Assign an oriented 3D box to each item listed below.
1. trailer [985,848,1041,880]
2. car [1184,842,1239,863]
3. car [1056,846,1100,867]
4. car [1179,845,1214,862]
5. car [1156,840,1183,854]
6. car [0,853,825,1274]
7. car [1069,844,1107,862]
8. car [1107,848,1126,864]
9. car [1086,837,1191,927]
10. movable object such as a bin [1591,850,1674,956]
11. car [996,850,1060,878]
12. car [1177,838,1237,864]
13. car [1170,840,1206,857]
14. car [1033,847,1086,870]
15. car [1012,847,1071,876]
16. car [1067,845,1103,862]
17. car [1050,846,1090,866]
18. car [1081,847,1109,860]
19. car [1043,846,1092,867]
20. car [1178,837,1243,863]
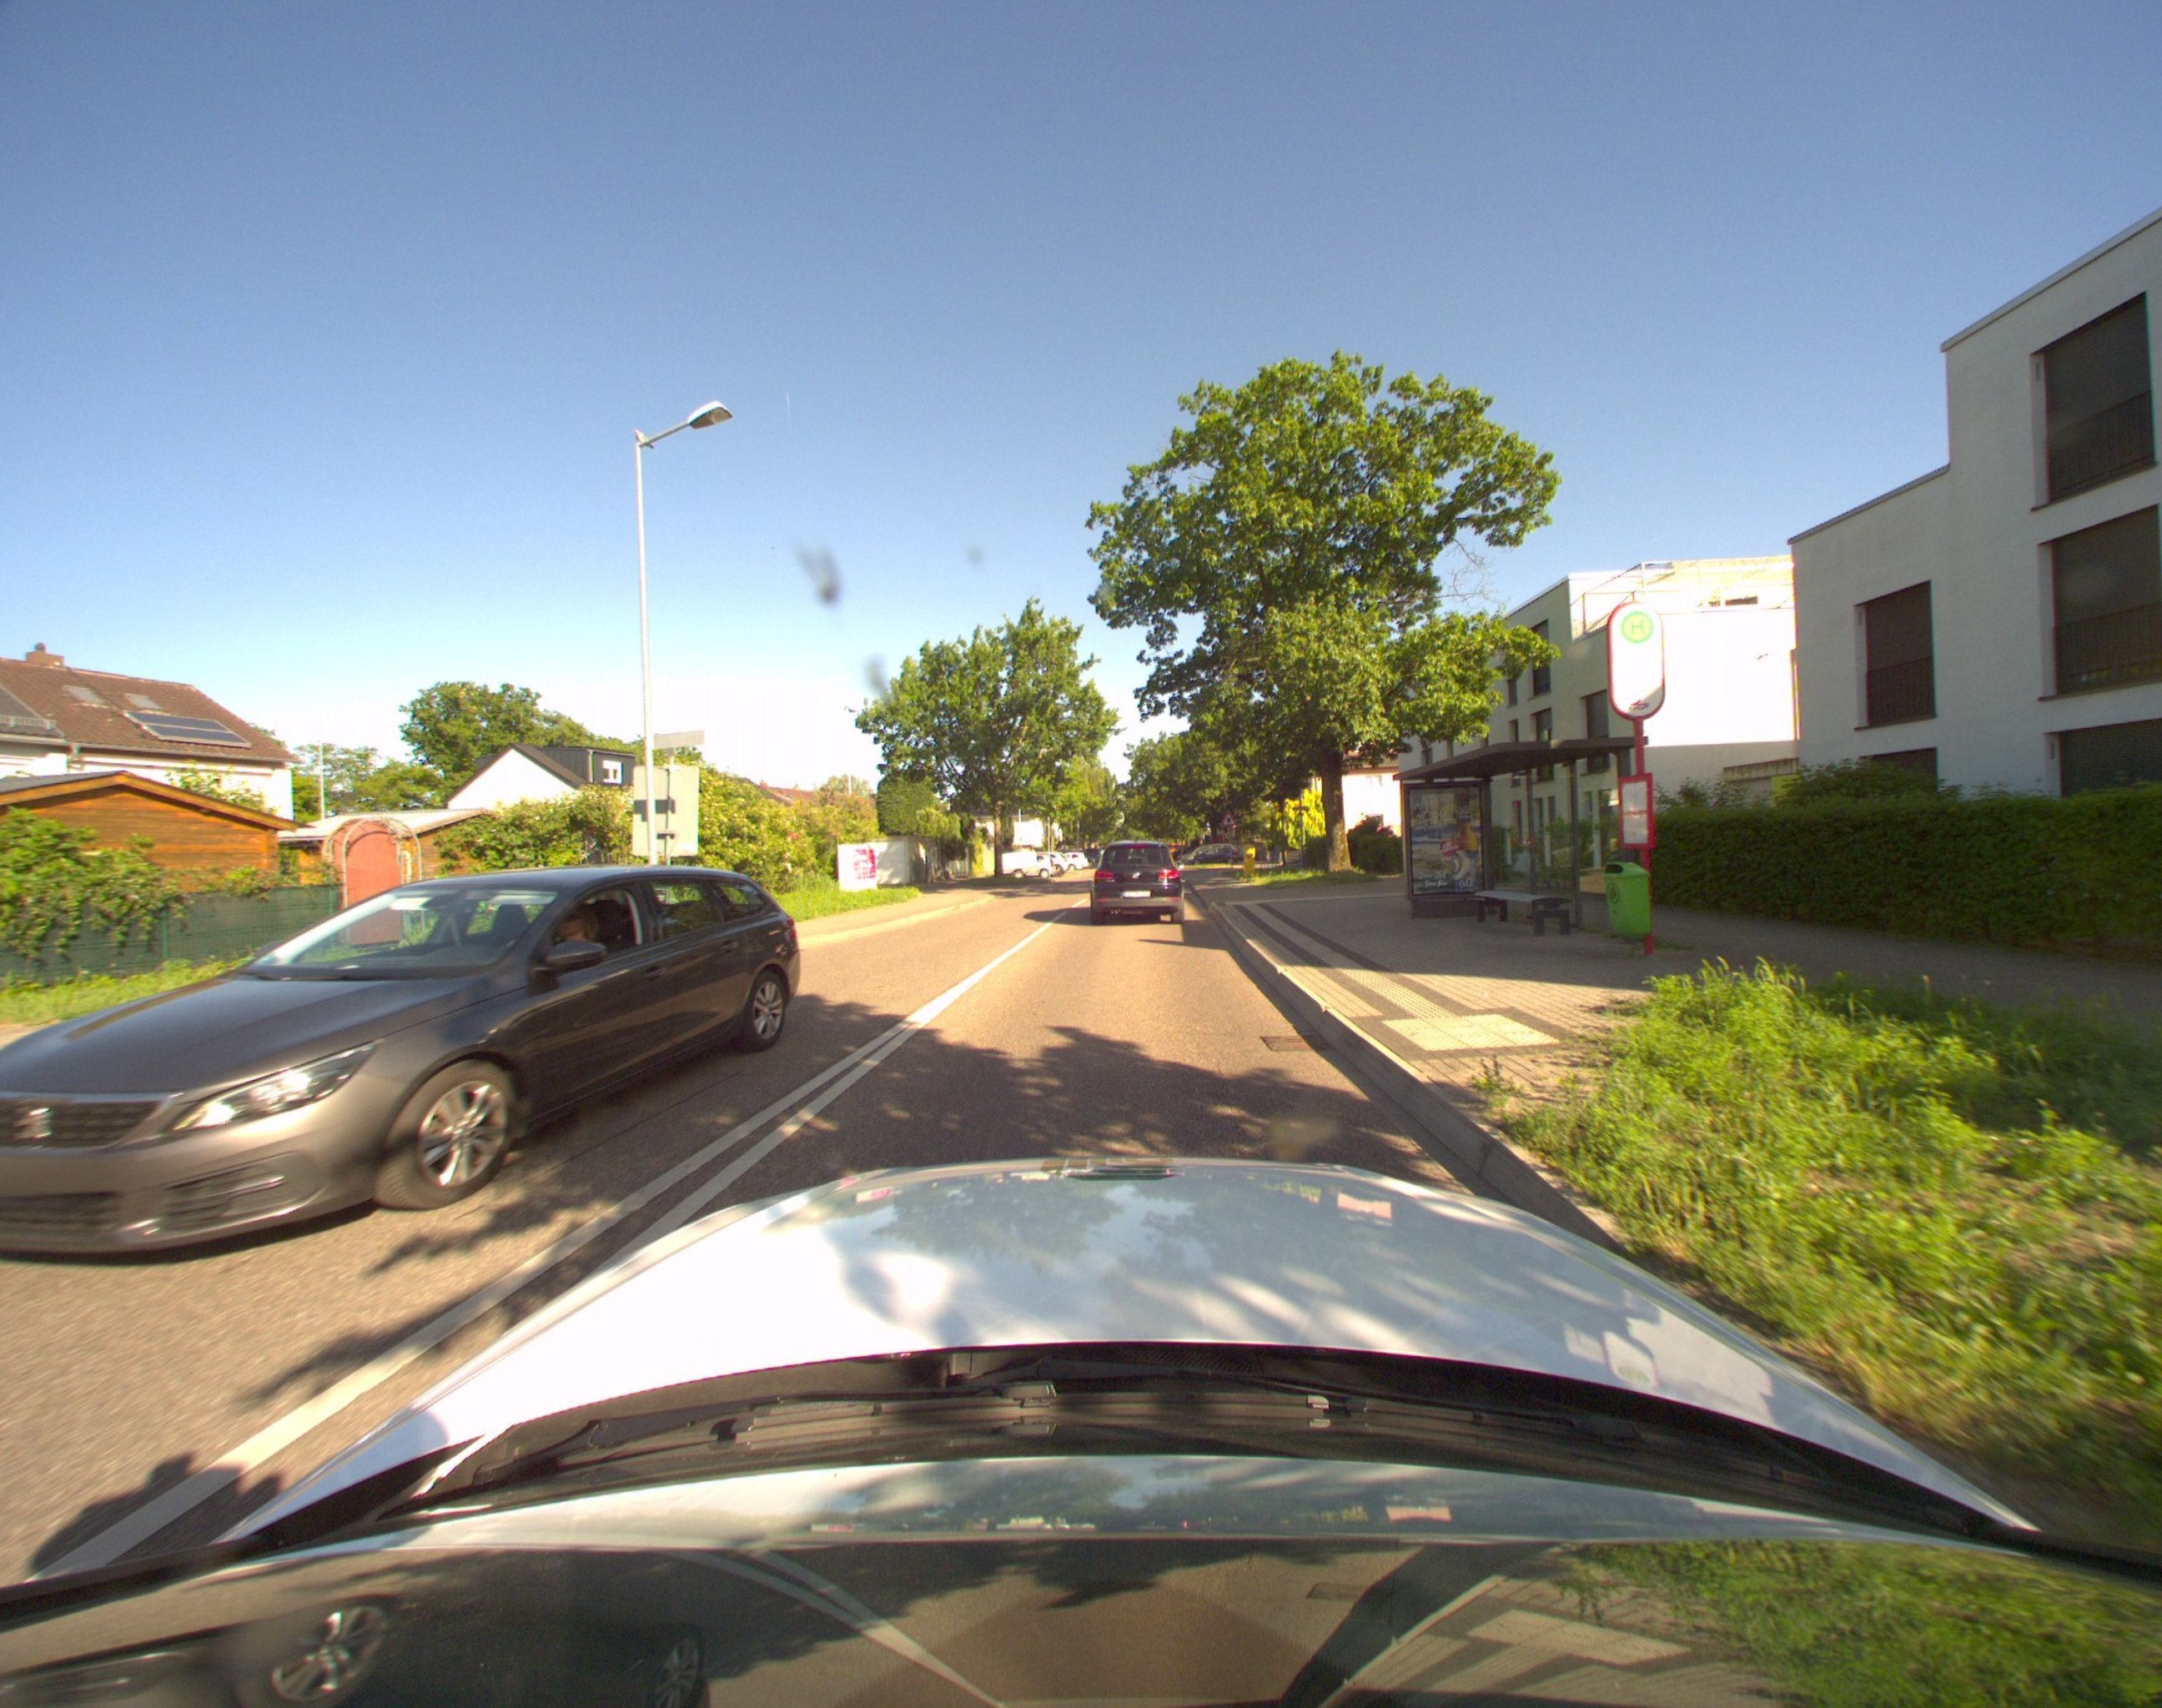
[{"bbox_3d":[-3.812,0.550,46.145,2.957,1.656,1.396,-3,0,0],"label":"trailer"},{"bbox_3d":[10.083,-0.125,63.119,3.969,1.368,1.849,-3,0,4],"label":"car"},{"bbox_3d":[-0.263,0.212,75.951,3.973,1.731,2.000,-3,0,0],"label":"car"},{"bbox_3d":[10.958,-0.038,77.461,3.036,1.507,1.246,-3,0,-2],"label":"car"},{"bbox_3d":[13.679,-1.082,125.563,3.968,2.014,2.002,-3,-2,5],"label":"car"},{"bbox_3d":[-3.494,0.748,5.138,1.984,1.443,4.457,-1,0,5],"label":"car"},{"bbox_3d":[0.792,-0.111,95.515,4.376,1.939,1.578,-2,-1,0],"label":"car"},{"bbox_3d":[3.926,0.233,88.763,1.901,1.555,4.004,-4,0,3],"label":"car"},{"bbox_3d":[1.095,0.502,17.421,1.923,1.654,4.514,-1,1,1],"label":"car"},{"bbox_3d":[5.534,0.473,8.190,0.368,1.016,0.599,-3,0,-5],"label":"movable object such as a bin"},{"bbox_3d":[-3.134,0.593,48.468,3.533,1.477,1.810,-3,0,4],"label":"car"},{"bbox_3d":[10.111,-0.244,65.623,4.612,1.809,1.826,-3,0,4],"label":"car"},{"bbox_3d":[12.393,-0.651,94.186,3.968,1.775,1.792,-3,0,5],"label":"car"},{"bbox_3d":[-1.711,0.340,65.915,3.967,1.670,2.003,-3,0,5],"label":"car"},{"bbox_3d":[-2.430,0.466,51.107,3.539,1.613,1.851,-3,0,-2],"label":"car"},{"bbox_3d":[0.455,-0.020,93.058,3.970,1.720,1.822,-2,-1,3],"label":"car"},{"bbox_3d":[-1.108,0.157,83.494,3.974,1.836,1.637,-3,0,0],"label":"car"},{"bbox_3d":[2.024,-0.123,118.499,3.979,1.684,1.921,-3,0,-4],"label":"car"},{"bbox_3d":[-1.135,0.246,71.234,3.967,1.640,2.003,-2,0,5],"label":"car"},{"bbox_3d":[10.890,-0.311,68.620,5.236,1.945,2.002,-2,0,4],"label":"car"}]
